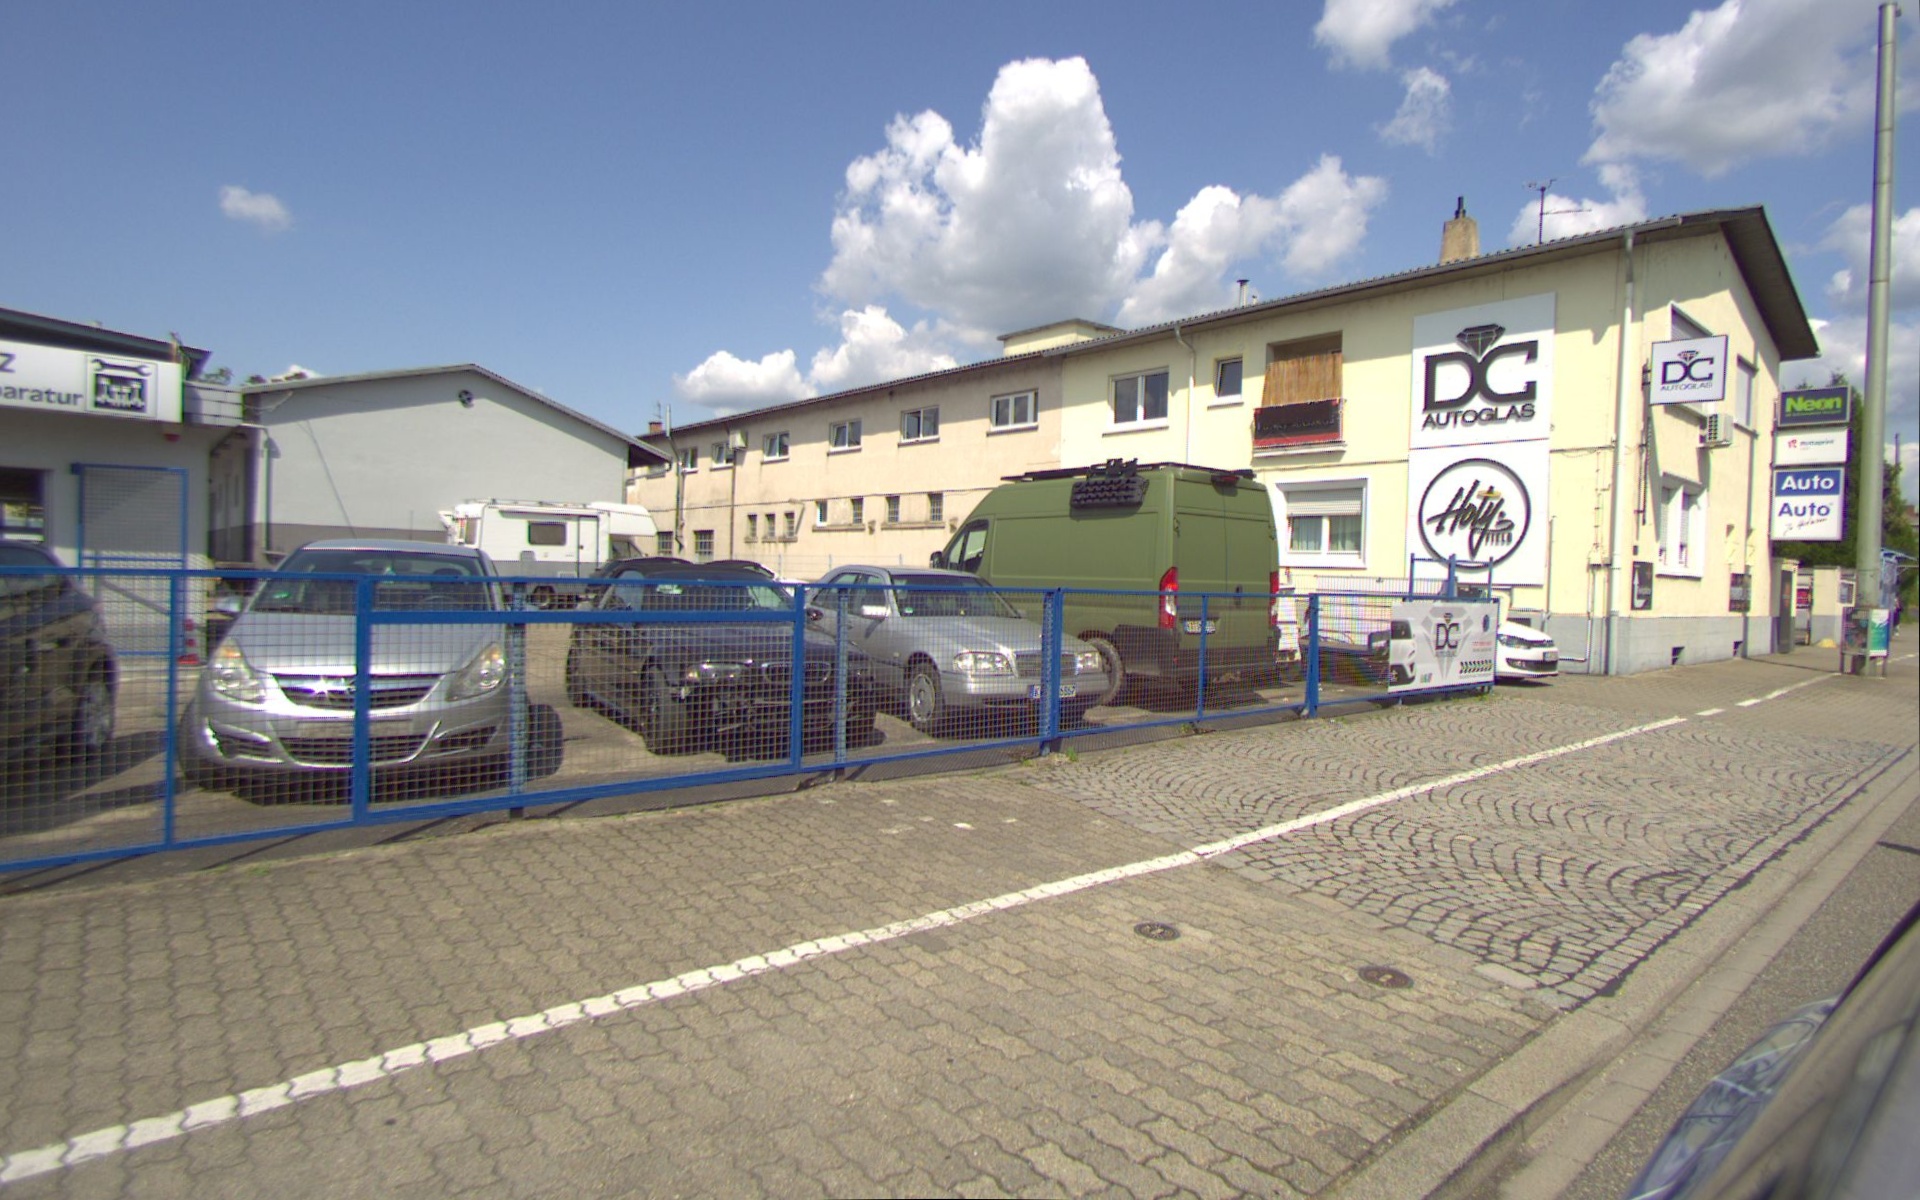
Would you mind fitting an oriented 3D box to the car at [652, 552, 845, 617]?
[{"bbox_3d":[-4.848,-0.350,23.542,4.112,1.378,1.645,0,2,-41],"label":"car"}]

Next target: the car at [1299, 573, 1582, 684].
[{"bbox_3d":[7.542,0.362,16.163,1.527,1.481,3.775,1,2,-39],"label":"car"}]

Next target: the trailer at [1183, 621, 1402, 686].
[{"bbox_3d":[4.746,0.728,14.647,1.307,0.674,2.730,0,2,-42],"label":"trailer"}]

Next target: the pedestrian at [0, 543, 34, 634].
[{"bbox_3d":[-13.163,-0.162,13.874,0.652,1.224,0.566,1,1,-39],"label":"pedestrian"}]

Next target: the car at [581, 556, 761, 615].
[{"bbox_3d":[-7.311,-0.362,25.805,4.112,1.378,1.645,0,2,-41],"label":"car"}]

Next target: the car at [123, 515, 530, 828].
[{"bbox_3d":[-3.900,0.280,6.835,1.736,1.470,3.778,1,2,-24],"label":"car"}]

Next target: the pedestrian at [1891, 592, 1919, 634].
[{"bbox_3d":[41.019,0.550,43.742,1.255,1.773,0.941,1,1,-41],"label":"pedestrian"}]

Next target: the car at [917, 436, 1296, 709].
[{"bbox_3d":[1.586,-0.348,12.252,2.075,2.675,4.208,1,2,-39],"label":"car"}]

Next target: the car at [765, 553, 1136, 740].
[{"bbox_3d":[-0.340,0.288,10.199,1.679,1.470,4.292,1,2,-33],"label":"car"}]

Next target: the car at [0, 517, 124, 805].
[{"bbox_3d":[-5.638,0.302,4.863,1.606,1.470,3.701,1,2,-25],"label":"car"}]

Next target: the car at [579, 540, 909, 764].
[{"bbox_3d":[-2.130,0.274,8.893,1.737,1.470,4.128,1,2,-28],"label":"car"}]

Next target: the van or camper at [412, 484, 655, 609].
[{"bbox_3d":[-11.308,-1.329,27.104,5.556,3.002,2.272,0,2,-42],"label":"van or camper"}]

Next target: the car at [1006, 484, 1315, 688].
[{"bbox_3d":[2.641,-0.244,14.241,1.557,2.436,4.208,1,2,-39],"label":"car"}]
